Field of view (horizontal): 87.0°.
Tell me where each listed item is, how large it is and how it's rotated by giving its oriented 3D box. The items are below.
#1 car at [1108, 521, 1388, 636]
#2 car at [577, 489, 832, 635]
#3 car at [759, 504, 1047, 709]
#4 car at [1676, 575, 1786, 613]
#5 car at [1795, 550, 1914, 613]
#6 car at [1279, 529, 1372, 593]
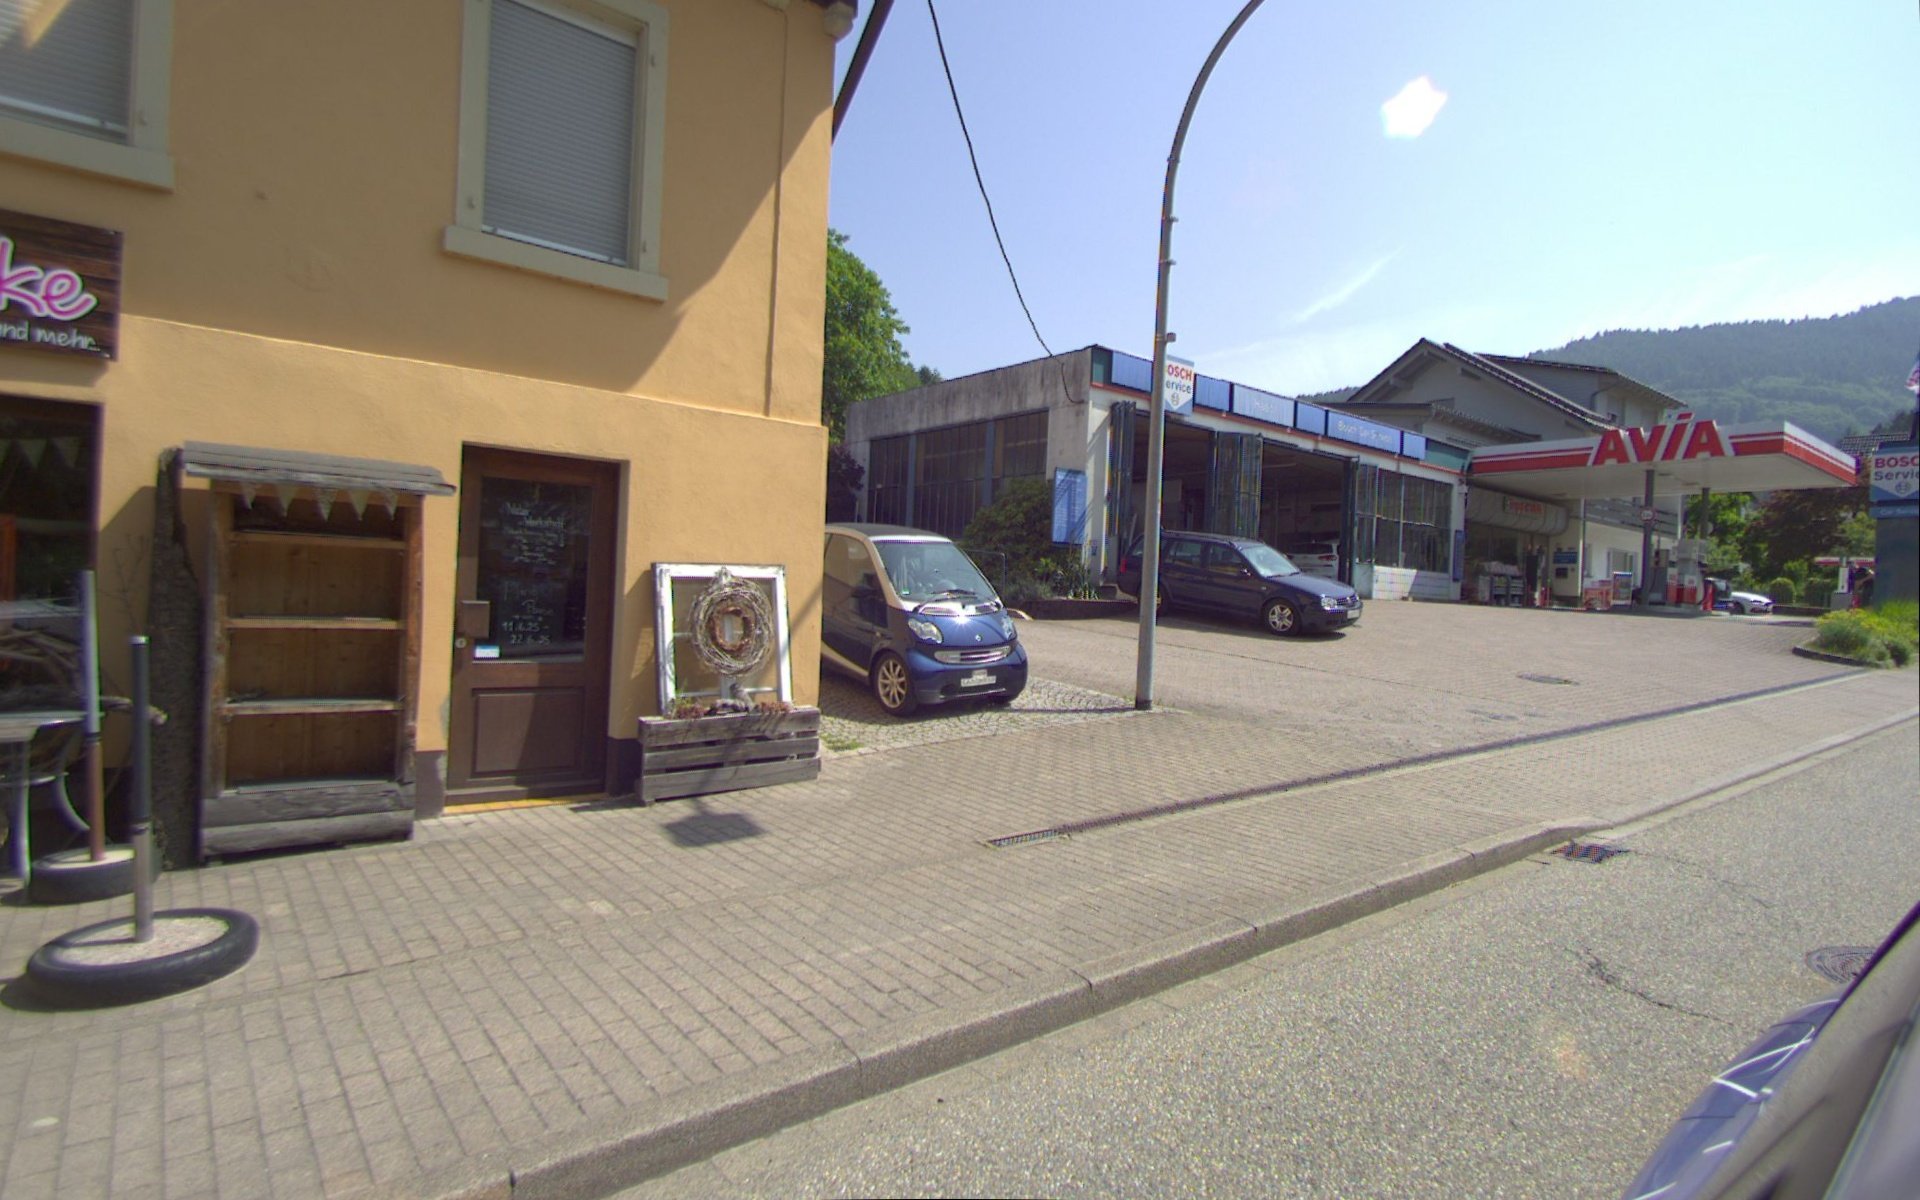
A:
[{"bbox_3d":[4.907,-0.476,17.673,4.321,1.562,1.772,8,7,44],"label":"car"},{"bbox_3d":[-3.639,-0.603,13.955,1.705,1.644,3.931,0,6,-42],"label":"car"},{"bbox_3d":[-0.640,-0.055,9.870,1.401,1.553,2.661,-2,9,-41],"label":"car"},{"bbox_3d":[29.852,-0.272,39.253,1.311,1.157,3.083,-1,6,-38],"label":"car"},{"bbox_3d":[25.778,-0.559,29.144,3.839,1.595,1.698,-1,6,-37],"label":"car"},{"bbox_3d":[11.072,-1.212,30.536,1.596,1.707,3.882,6,6,35],"label":"car"}]
